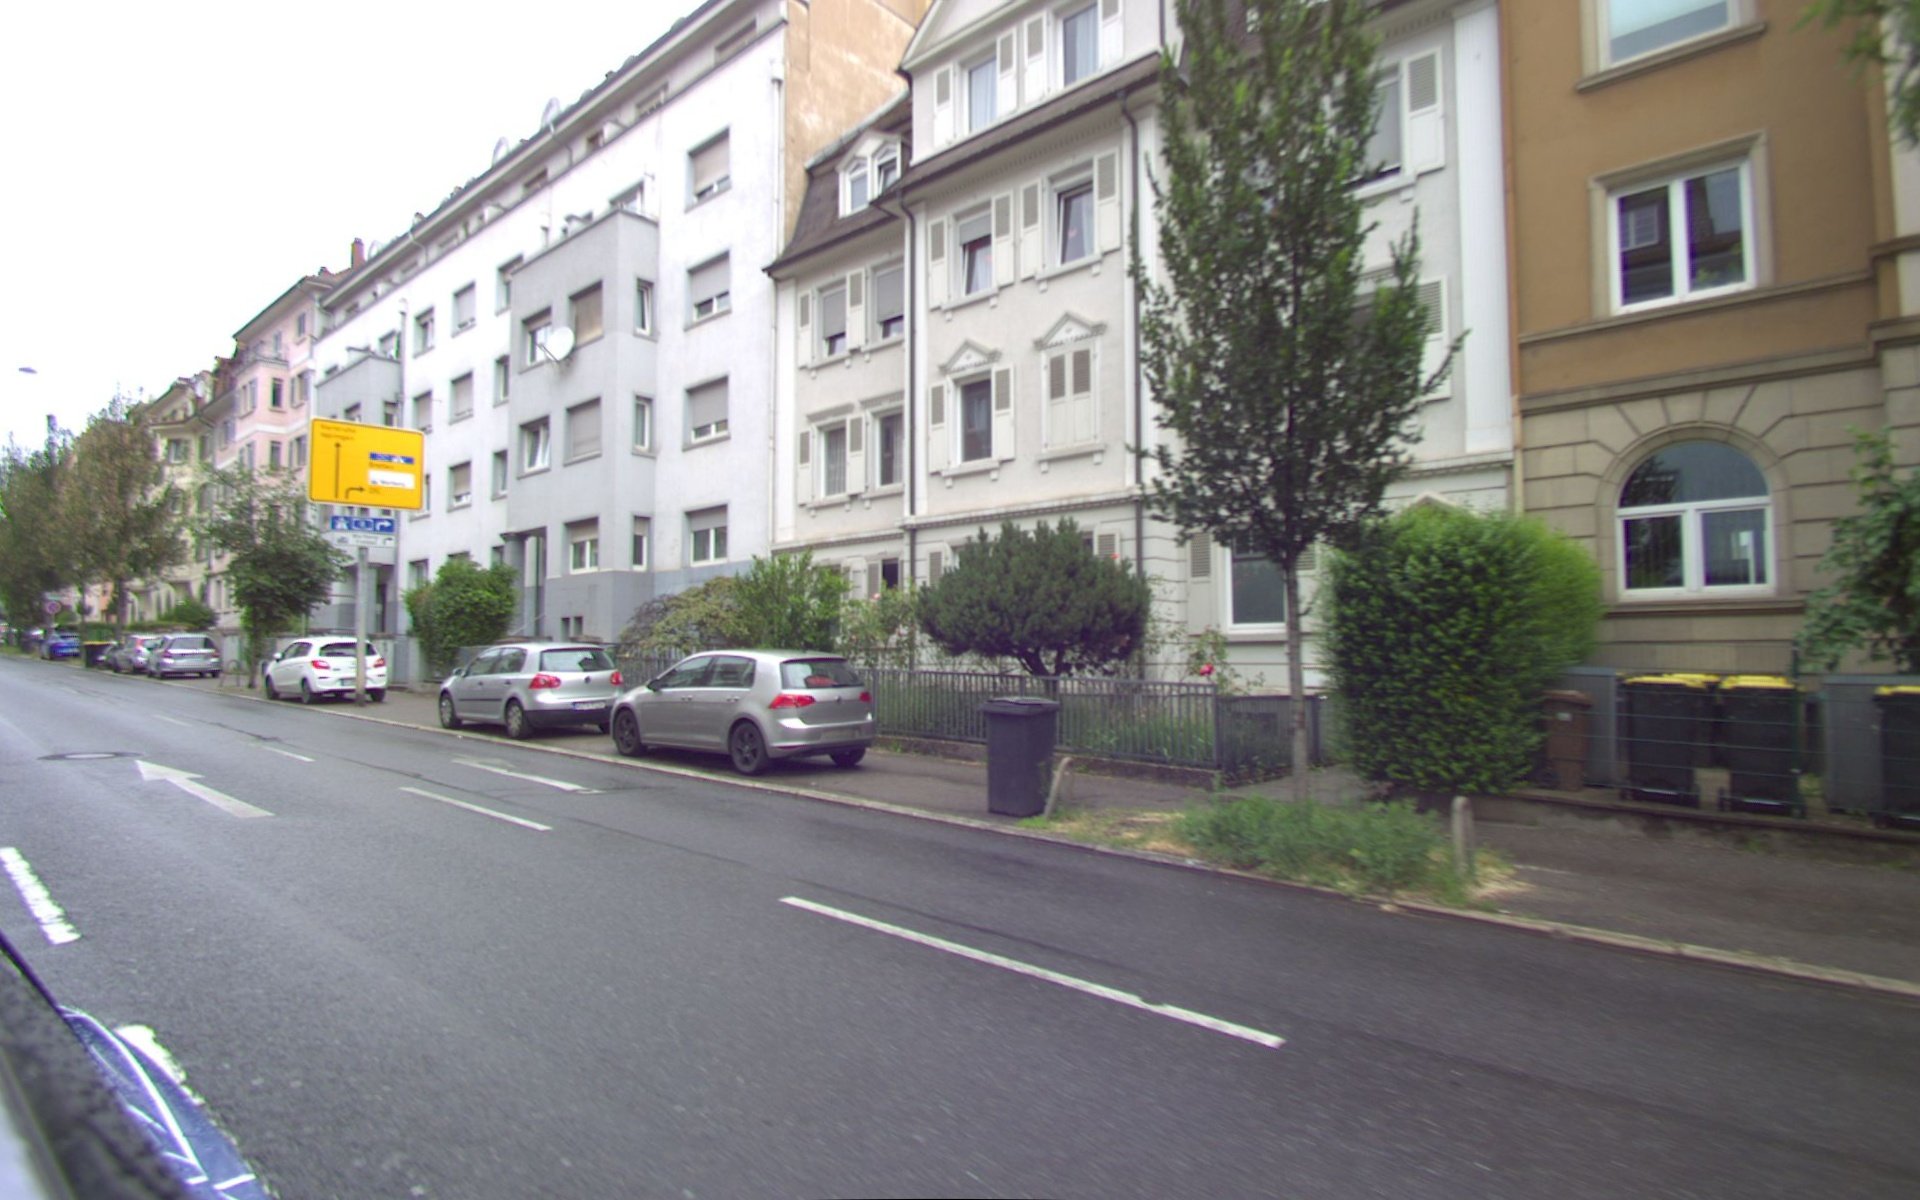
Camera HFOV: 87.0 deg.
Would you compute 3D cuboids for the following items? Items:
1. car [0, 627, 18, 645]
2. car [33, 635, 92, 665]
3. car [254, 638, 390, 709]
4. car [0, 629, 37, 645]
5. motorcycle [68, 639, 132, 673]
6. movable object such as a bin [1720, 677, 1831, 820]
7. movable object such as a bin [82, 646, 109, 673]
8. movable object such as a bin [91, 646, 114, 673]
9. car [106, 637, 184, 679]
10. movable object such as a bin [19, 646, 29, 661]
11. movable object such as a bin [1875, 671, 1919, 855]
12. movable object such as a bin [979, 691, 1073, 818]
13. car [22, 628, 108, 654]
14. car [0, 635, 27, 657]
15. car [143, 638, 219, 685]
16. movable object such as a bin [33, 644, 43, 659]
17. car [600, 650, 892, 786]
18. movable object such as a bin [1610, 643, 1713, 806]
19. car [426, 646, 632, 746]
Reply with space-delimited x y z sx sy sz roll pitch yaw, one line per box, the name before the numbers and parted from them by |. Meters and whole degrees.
car | -102.029 3.725 106.583 1.866 1.861 3.880 0 -3 39
car | -45.820 2.545 51.651 4.601 1.396 1.661 -1 -5 42
car | -15.017 1.662 23.763 3.794 1.519 1.629 -2 -3 40
car | -99.475 3.885 106.019 1.592 1.634 3.877 -1 -3 42
motorcycle | -34.265 2.243 40.331 1.783 1.325 0.743 1 -3 -7
movable object such as a bin | 6.472 1.150 8.040 0.649 1.047 0.435 -2 -4 41
movable object such as a bin | -36.161 2.487 42.346 0.483 1.066 0.816 0 0 43
movable object such as a bin | -35.223 2.446 41.571 0.480 1.066 0.522 -1 0 20
car | -30.303 2.135 37.606 3.885 1.407 1.584 0 -2 41
movable object such as a bin | -55.335 3.165 59.811 0.572 0.896 0.360 -2 -2 41
movable object such as a bin | 7.189 1.189 7.430 0.649 1.319 0.435 -2 -4 41
movable object such as a bin | 0.619 1.408 9.410 0.600 1.066 0.623 0 -3 42
car | -68.764 3.096 77.828 1.917 1.919 4.671 0 -1 40
car | -67.029 3.223 71.126 4.137 1.428 1.663 -1 -4 42
car | -26.547 2.042 34.447 1.582 1.462 3.890 1 -2 -45
movable object such as a bin | -55.084 3.079 60.470 0.572 0.918 0.360 0 -1 41
car | -2.831 1.377 12.932 3.935 1.401 1.664 -1 -3 42
movable object such as a bin | 5.947 1.024 8.586 0.649 1.309 0.435 -2 -4 41
car | -7.191 1.486 16.734 3.908 1.401 1.664 -2 -2 42
